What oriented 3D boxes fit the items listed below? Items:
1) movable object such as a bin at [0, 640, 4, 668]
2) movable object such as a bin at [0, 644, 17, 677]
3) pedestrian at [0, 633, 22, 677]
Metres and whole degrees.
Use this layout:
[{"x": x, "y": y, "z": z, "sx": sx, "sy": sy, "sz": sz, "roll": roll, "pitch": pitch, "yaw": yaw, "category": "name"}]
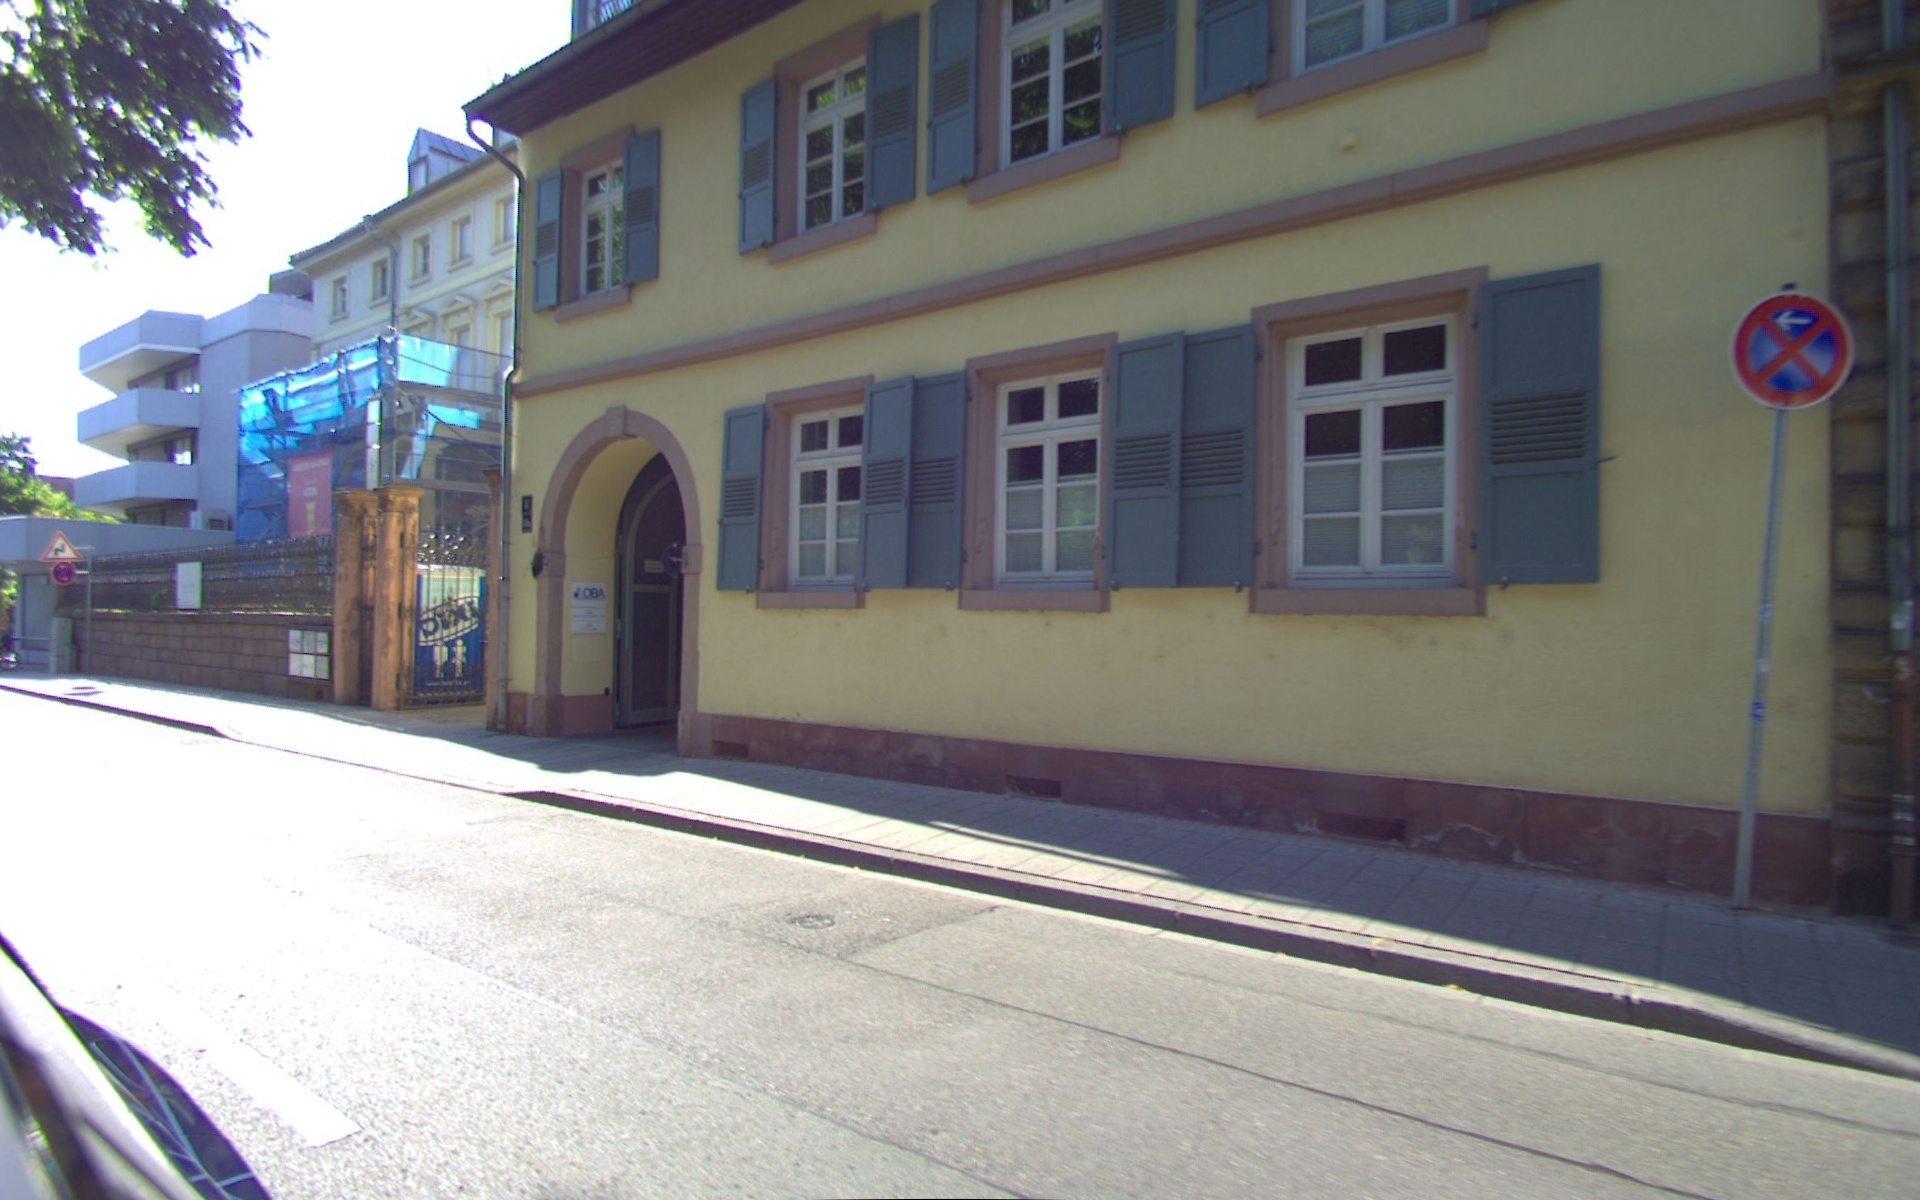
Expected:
[{"x": -33.077, "y": 1.833, "z": 34.121, "sx": 0.837, "sy": 0.935, "sz": 1.027, "roll": -1, "pitch": 0, "yaw": 30, "category": "movable object such as a bin"}, {"x": -28.434, "y": 1.785, "z": 29.557, "sx": 1.020, "sy": 0.935, "sz": 0.843, "roll": -1, "pitch": 0, "yaw": -18, "category": "movable object such as a bin"}, {"x": -28.380, "y": 1.597, "z": 29.581, "sx": 1.138, "sy": 1.238, "sz": 0.843, "roll": 2, "pitch": -1, "yaw": -18, "category": "pedestrian"}]
